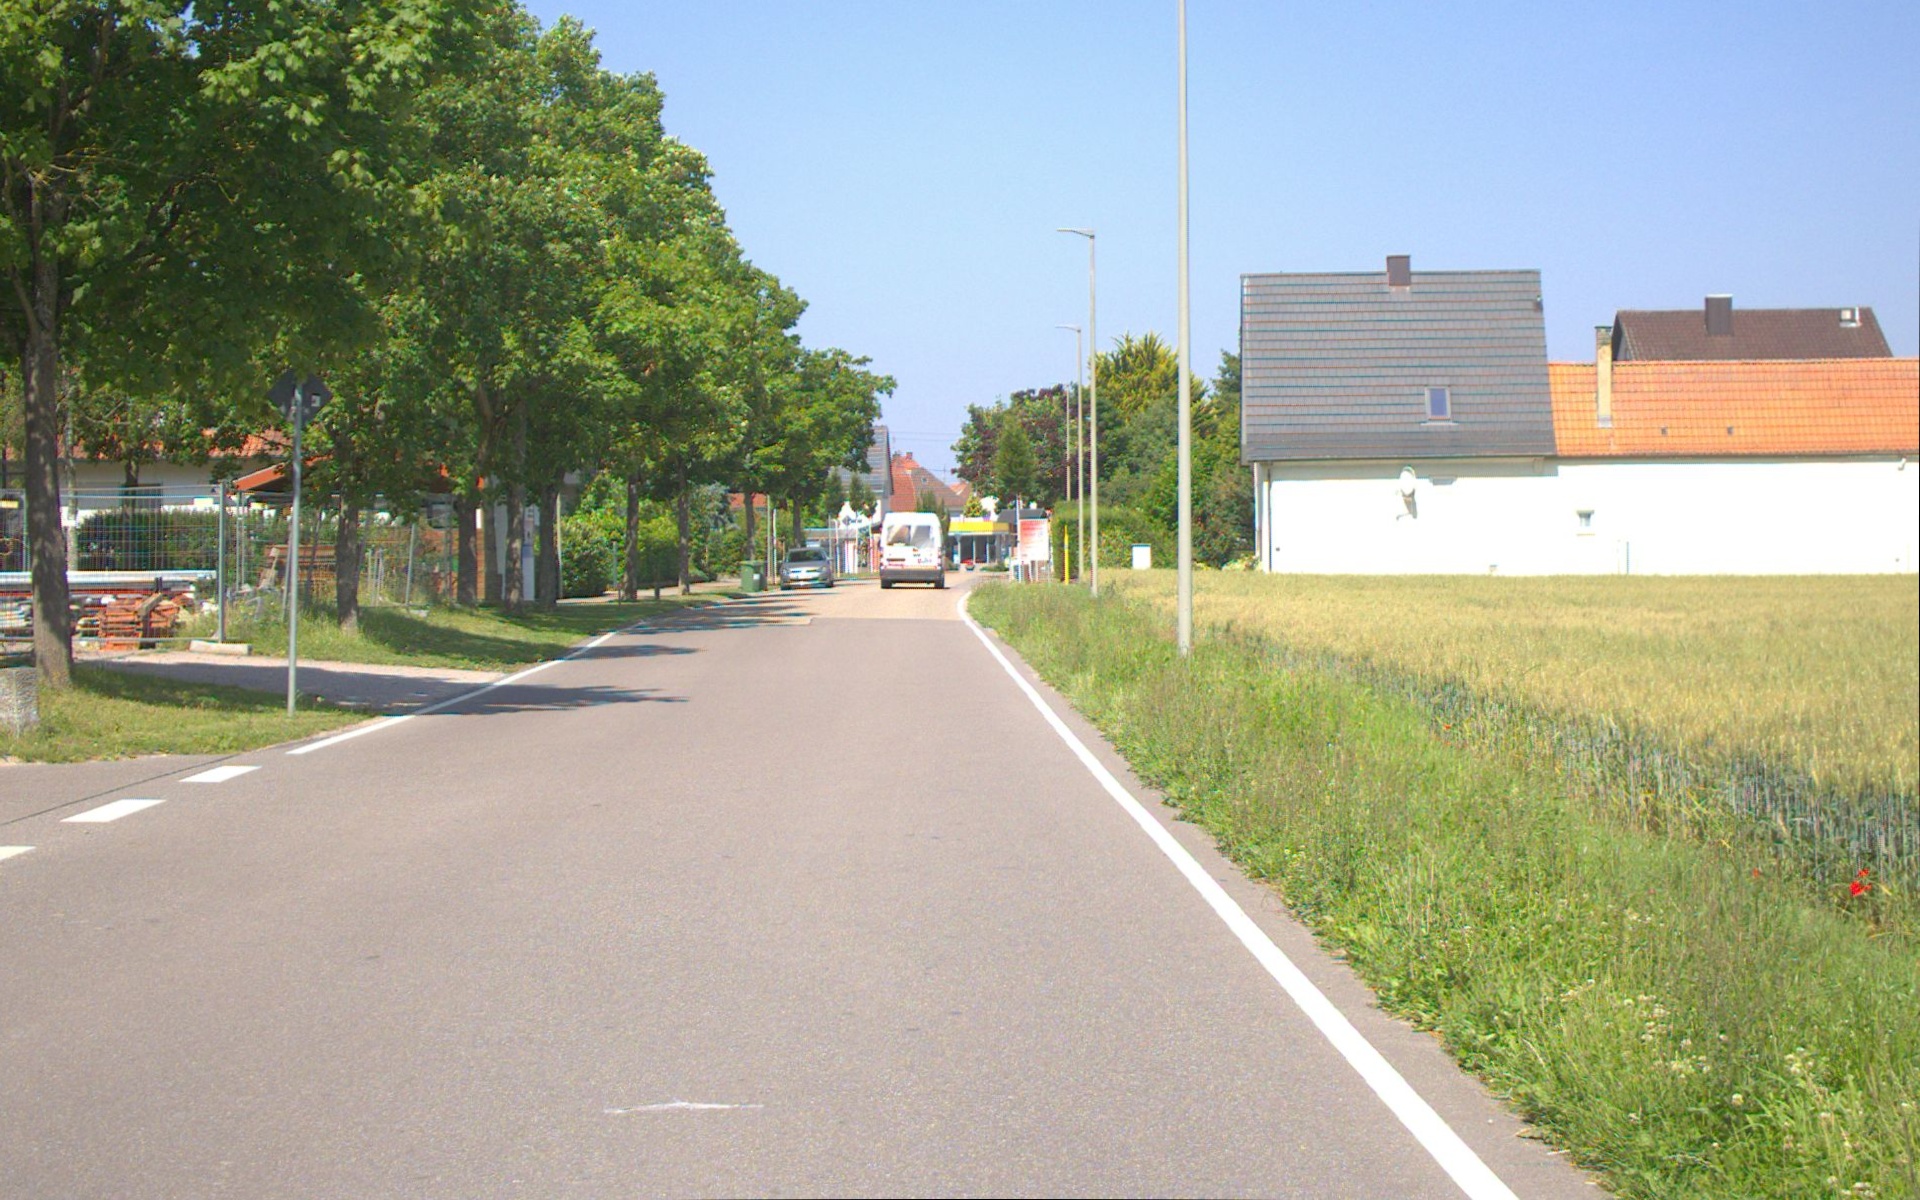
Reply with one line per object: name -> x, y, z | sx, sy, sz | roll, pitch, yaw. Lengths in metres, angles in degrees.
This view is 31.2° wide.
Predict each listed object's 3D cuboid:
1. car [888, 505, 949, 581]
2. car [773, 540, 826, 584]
car -> -1.335, -1.865, 112.431 | 1.738, 2.424, 4.374 | -1, 1, 2
car -> -5.625, -1.337, 120.579 | 1.647, 1.419, 4.080 | -3, 1, -1
